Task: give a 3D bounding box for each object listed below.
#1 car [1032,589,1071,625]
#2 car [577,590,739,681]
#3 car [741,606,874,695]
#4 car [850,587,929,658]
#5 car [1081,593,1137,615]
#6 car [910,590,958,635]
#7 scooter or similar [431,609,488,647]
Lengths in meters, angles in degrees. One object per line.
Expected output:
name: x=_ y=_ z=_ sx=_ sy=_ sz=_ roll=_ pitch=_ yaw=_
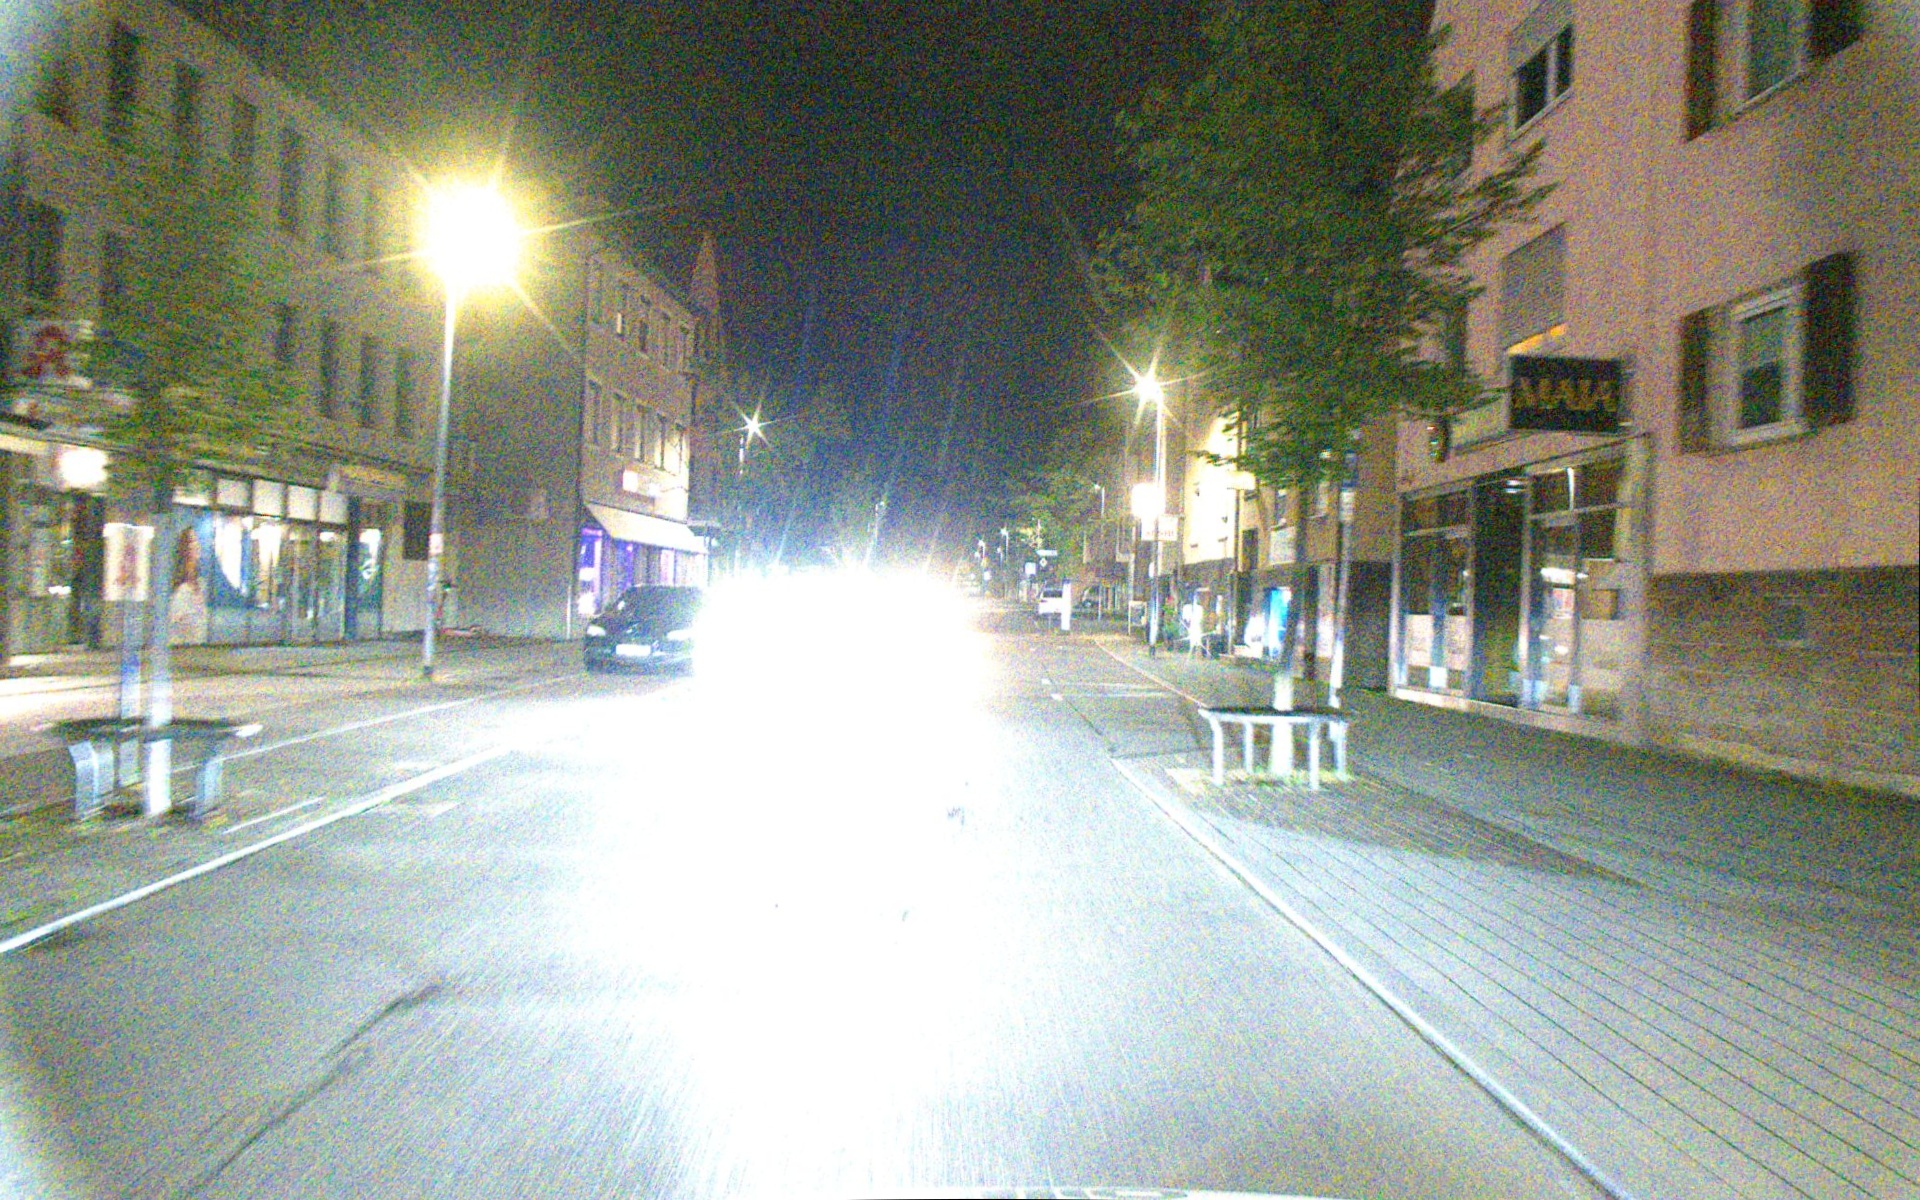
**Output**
car: x=4.524 y=0.326 z=82.184 sx=1.739 sy=1.681 sz=4.364 roll=1 pitch=0 yaw=0
car: x=-5.087 y=0.548 z=28.445 sx=1.875 sy=1.394 sz=4.458 roll=1 pitch=1 yaw=1
car: x=-2.368 y=0.757 z=26.622 sx=1.688 sy=1.268 sz=4.237 roll=1 pitch=0 yaw=0
car: x=-1.741 y=0.526 z=42.104 sx=1.739 sy=1.681 sz=4.364 roll=1 pitch=0 yaw=1
car: x=10.388 y=0.306 z=115.349 sx=3.903 sy=1.441 sz=2.001 roll=1 pitch=-2 yaw=5
car: x=-0.988 y=0.449 z=64.662 sx=1.739 sy=1.681 sz=4.364 roll=1 pitch=0 yaw=0
scooter or similar: x=-10.933 y=0.619 z=36.144 sx=1.073 sy=0.795 sz=0.524 roll=1 pitch=0 yaw=-4
